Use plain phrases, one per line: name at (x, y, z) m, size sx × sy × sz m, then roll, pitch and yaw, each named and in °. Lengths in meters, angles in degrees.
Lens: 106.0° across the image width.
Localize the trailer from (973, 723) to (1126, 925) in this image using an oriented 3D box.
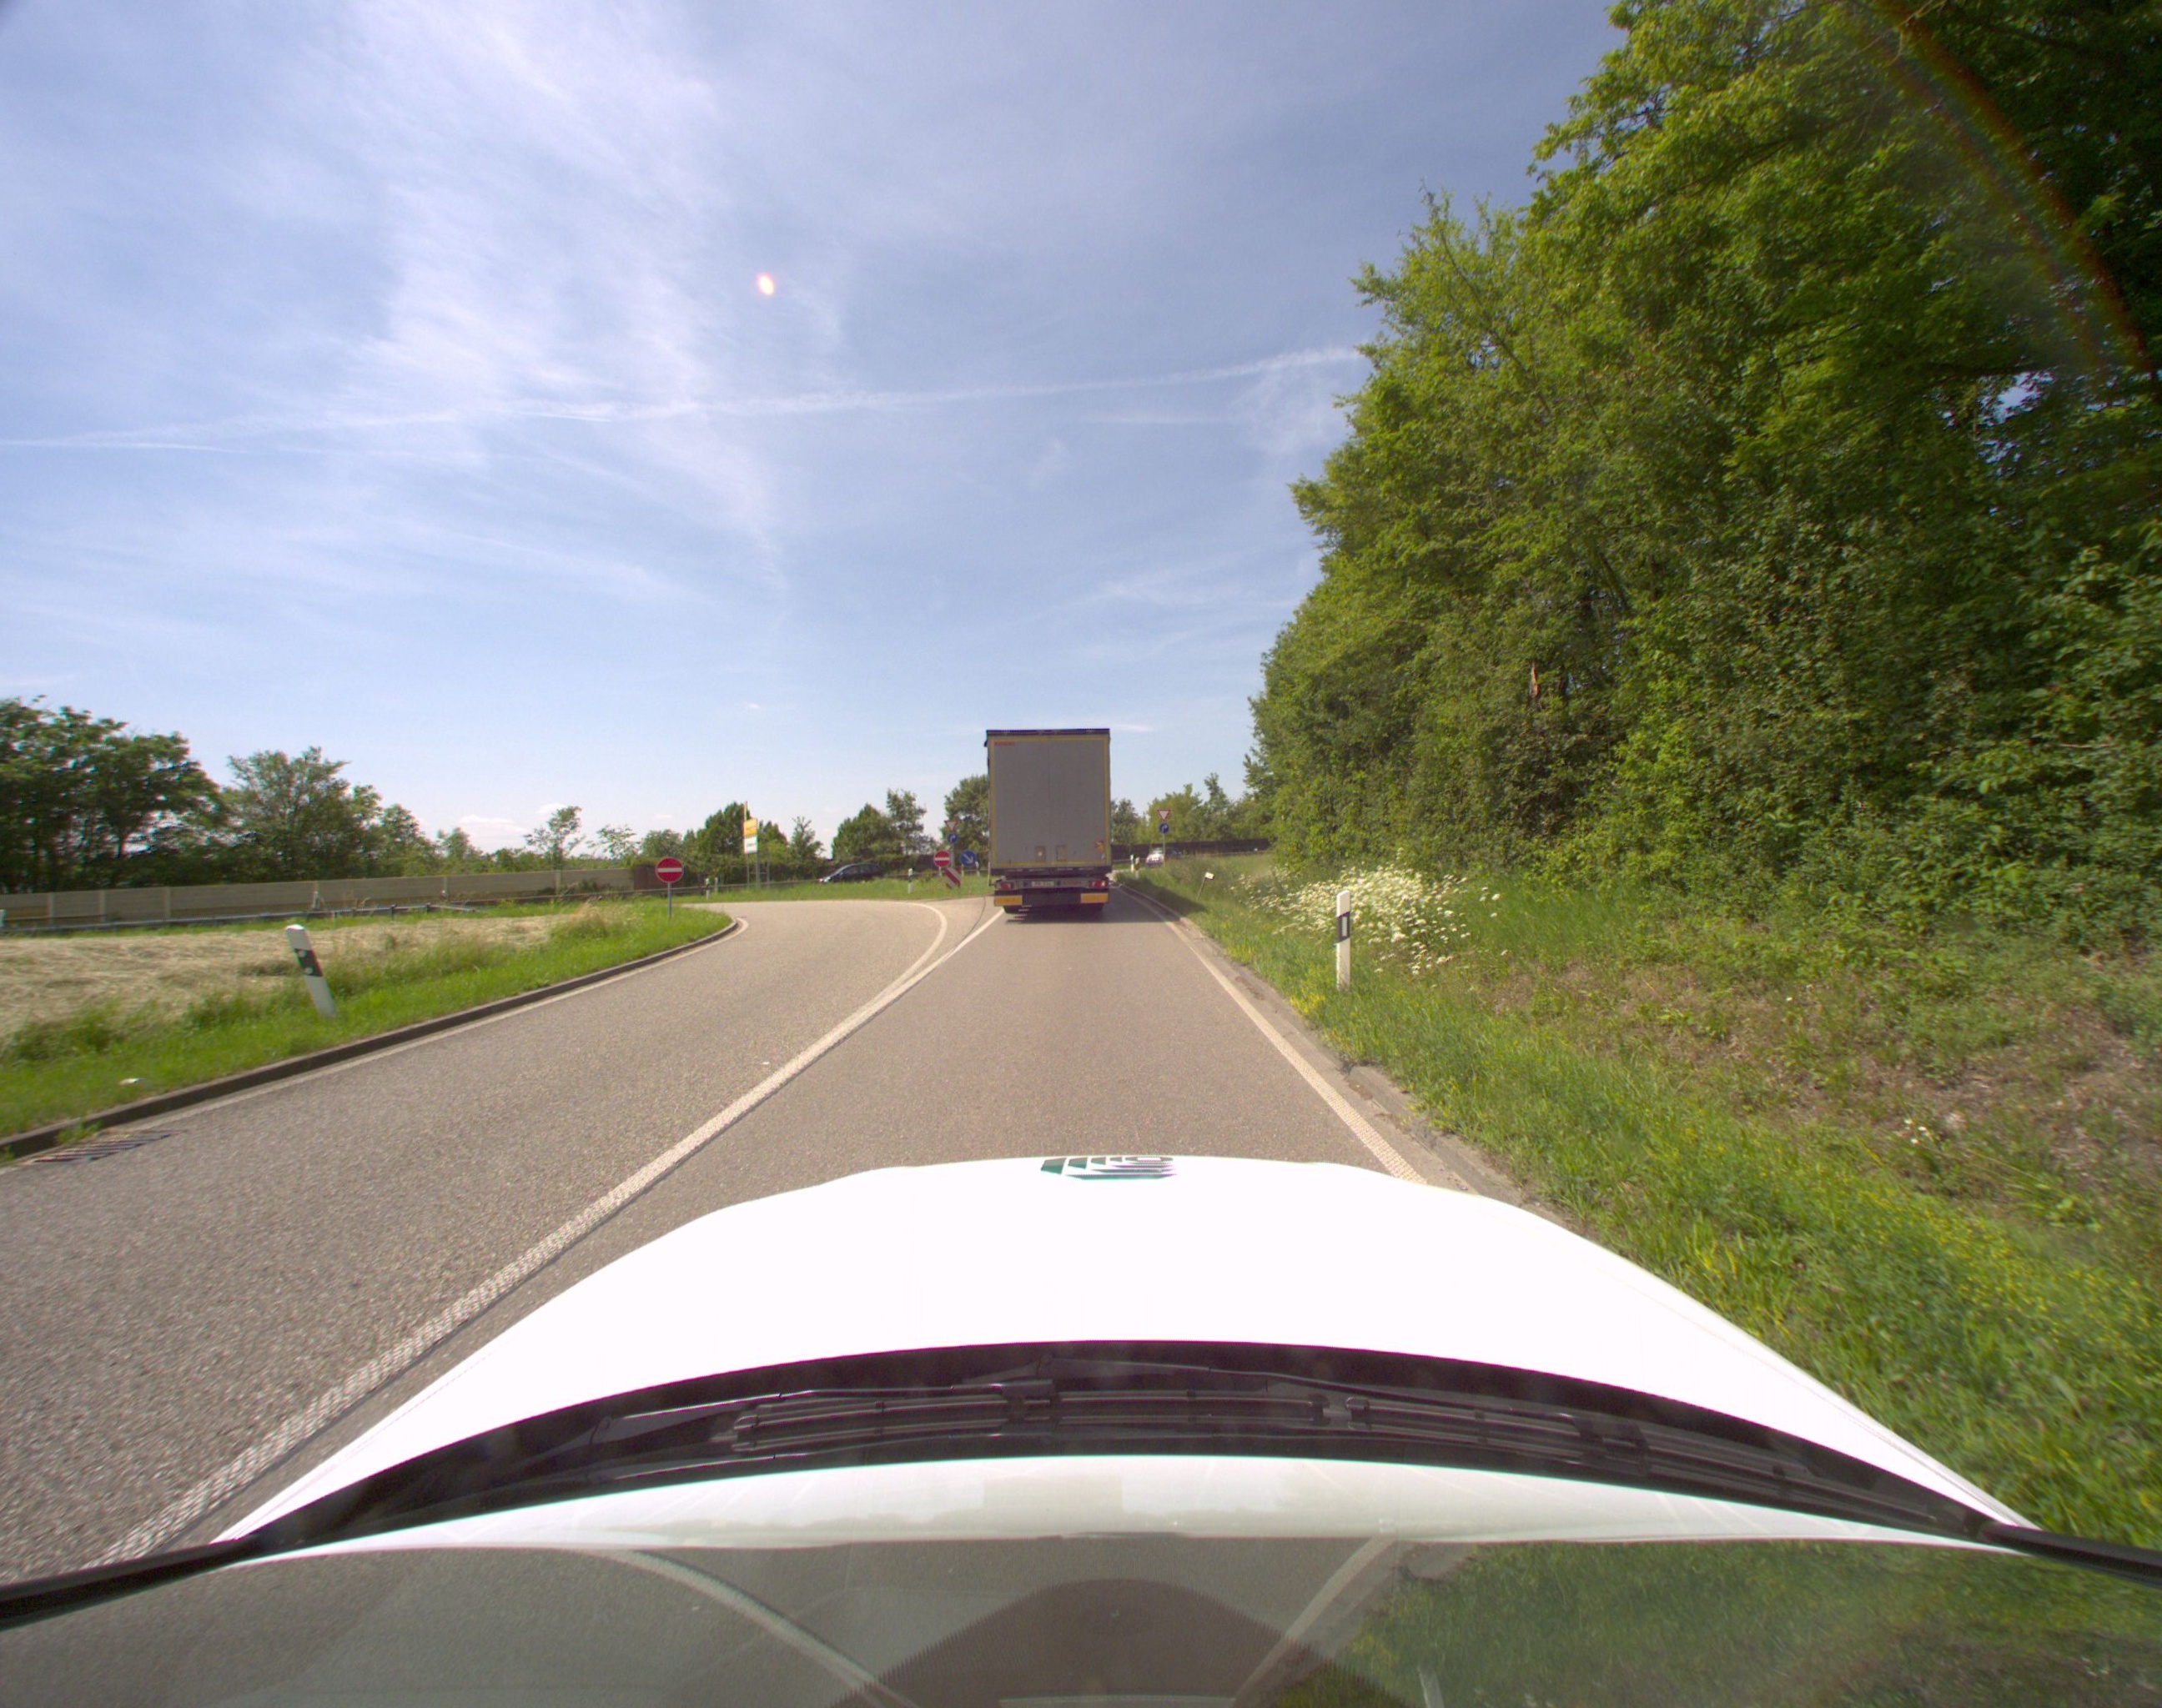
trailer at (-0.728, -0.683, 23.248) m, size 3.018 × 4.034 × 13.347 m, roll -1°, pitch 1°, yaw -1°

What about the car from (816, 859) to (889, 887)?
car at (-14.438, 1.165, 51.576) m, size 4.121 × 1.538 × 1.738 m, roll -3°, pitch 1°, yaw -32°

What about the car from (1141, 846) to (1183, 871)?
car at (5.297, 0.277, 53.125) m, size 1.652 × 1.486 × 4.021 m, roll -3°, pitch 0°, yaw 21°

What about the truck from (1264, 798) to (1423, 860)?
truck at (22.807, -2.236, 69.806) m, size 16.274 × 4.744 × 3.799 m, roll -3°, pitch 0°, yaw -36°
